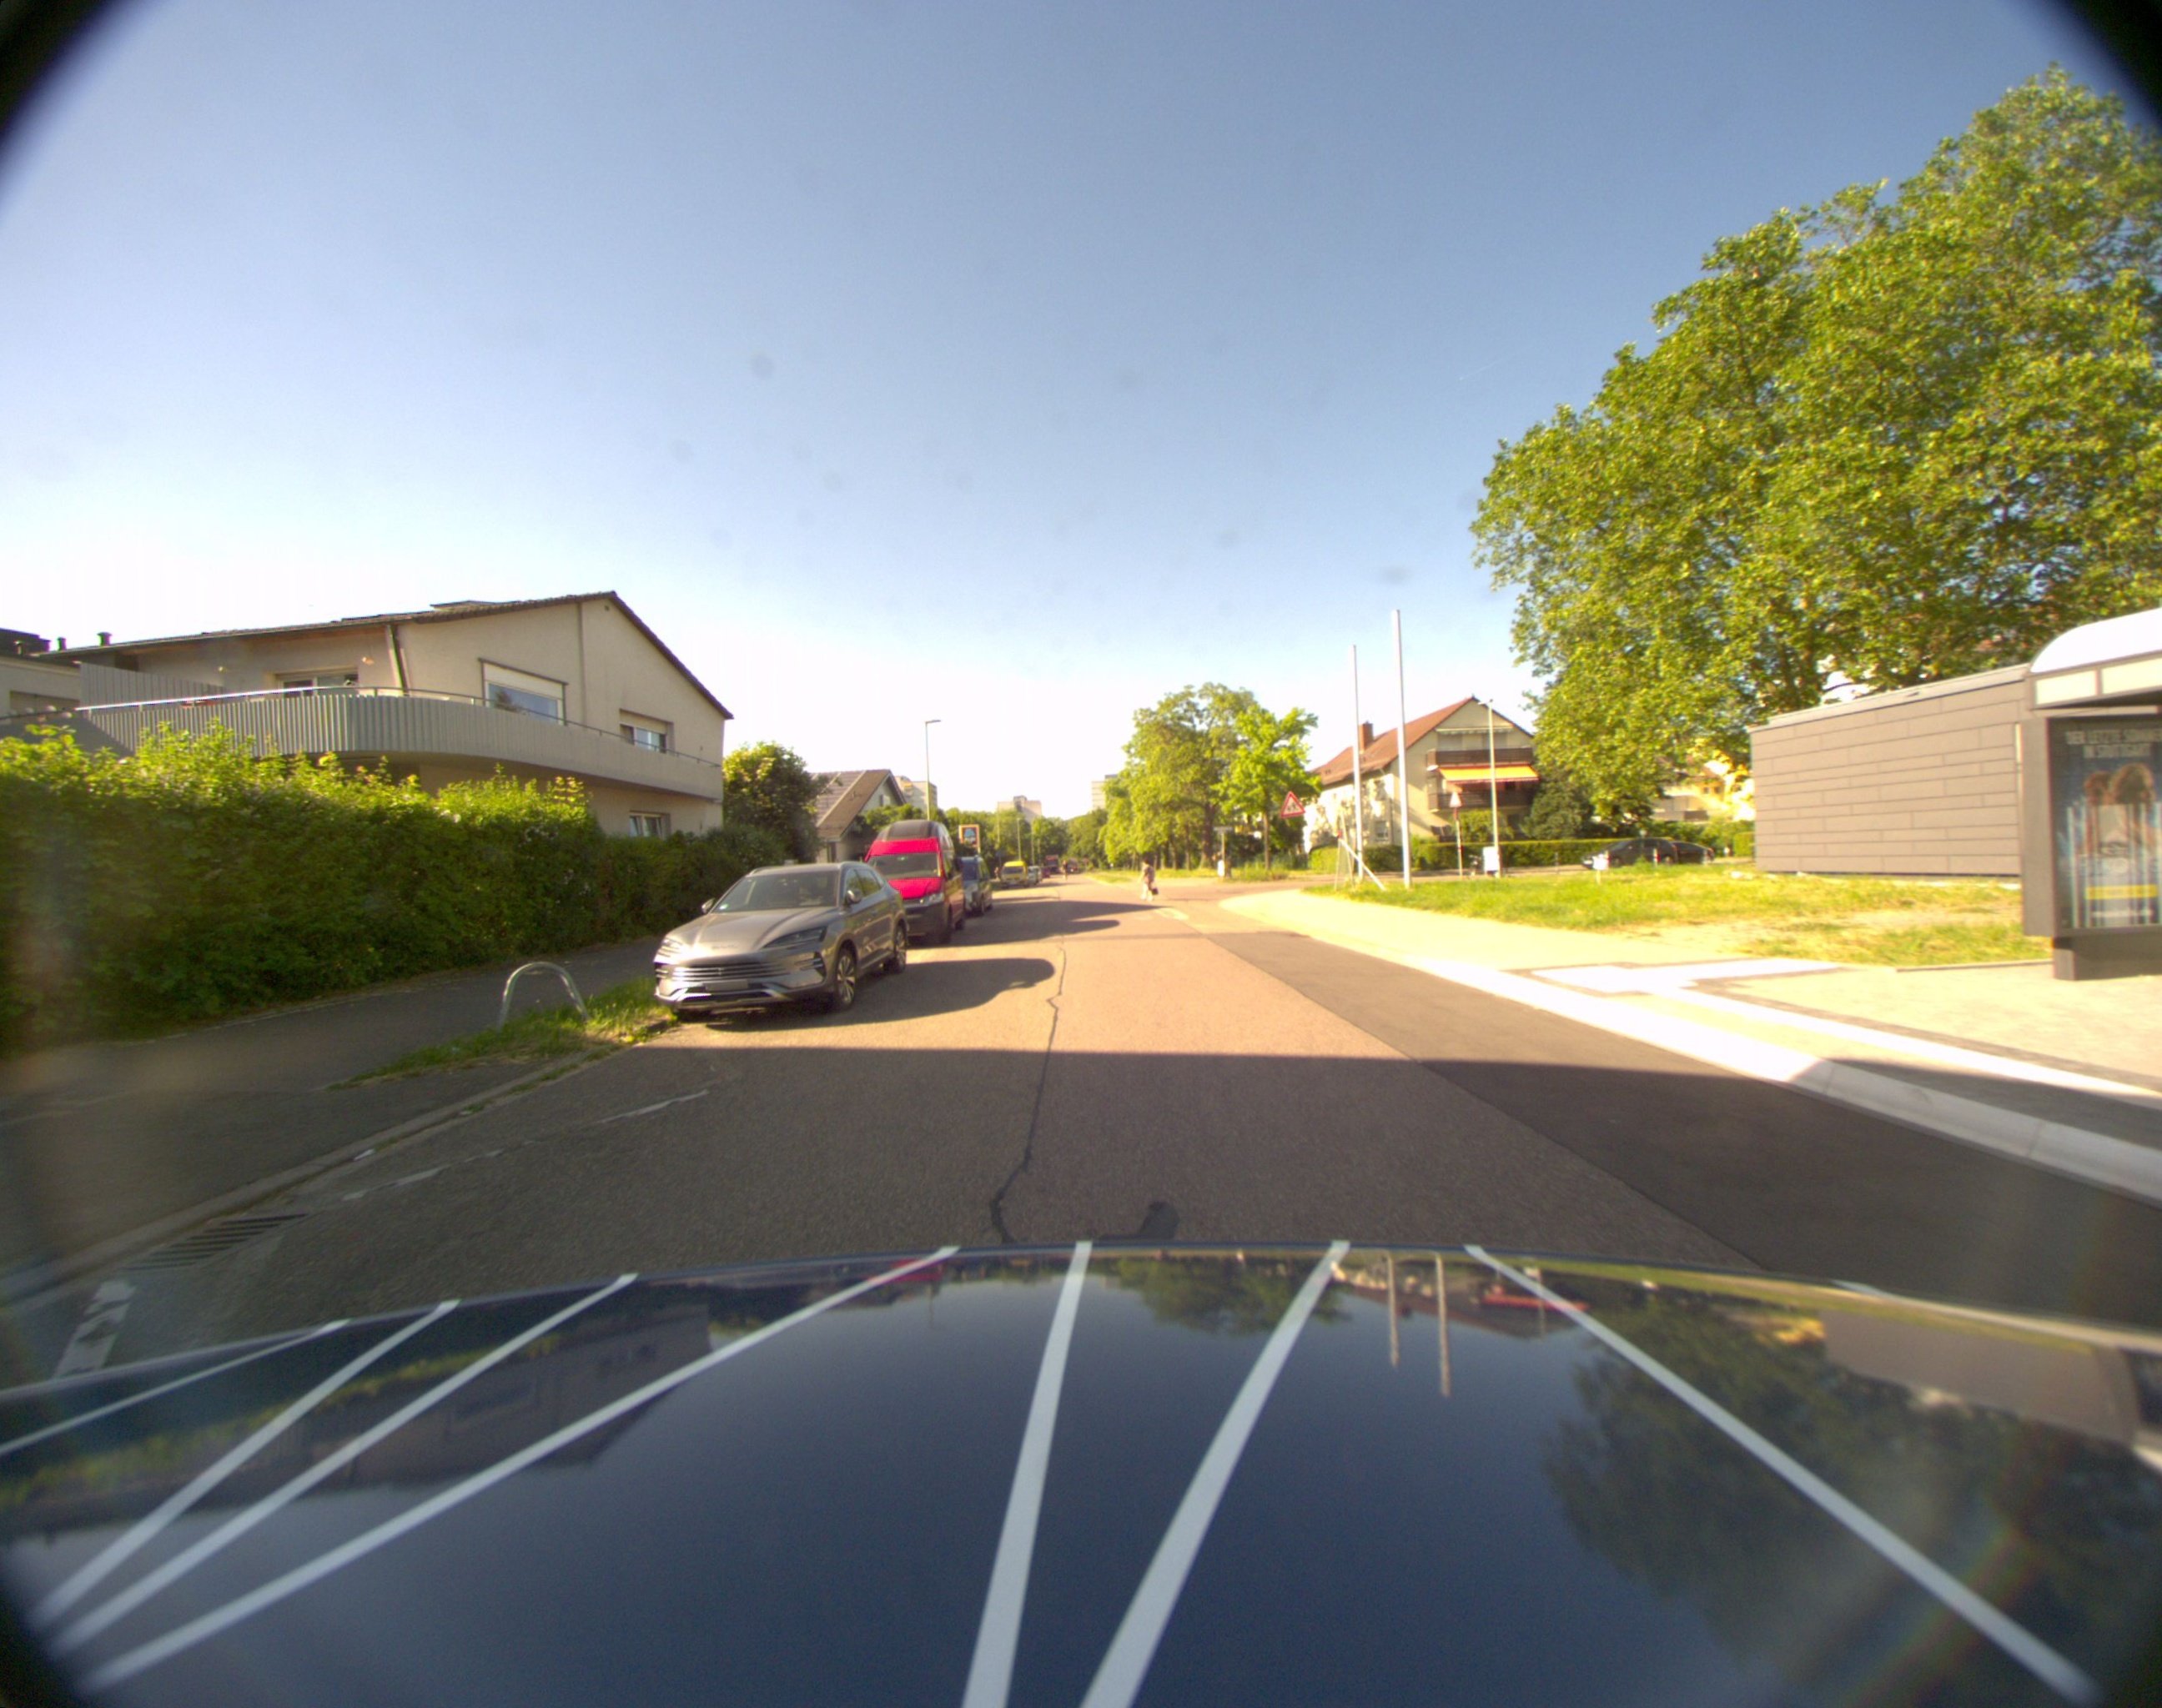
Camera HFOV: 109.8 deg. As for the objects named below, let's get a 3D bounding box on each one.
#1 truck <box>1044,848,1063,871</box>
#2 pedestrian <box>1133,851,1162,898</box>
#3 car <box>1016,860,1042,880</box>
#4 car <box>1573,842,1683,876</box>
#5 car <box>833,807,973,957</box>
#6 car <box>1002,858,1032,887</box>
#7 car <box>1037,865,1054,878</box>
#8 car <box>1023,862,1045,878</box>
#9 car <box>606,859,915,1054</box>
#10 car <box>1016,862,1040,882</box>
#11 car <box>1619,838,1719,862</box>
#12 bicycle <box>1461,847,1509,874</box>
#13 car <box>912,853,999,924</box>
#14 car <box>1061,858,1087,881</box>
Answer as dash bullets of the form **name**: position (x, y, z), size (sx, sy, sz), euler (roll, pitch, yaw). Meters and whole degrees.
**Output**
- **truck**: position (-5.781, 1.143, 160.754), size (3.602, 4.543, 10.023), euler (-3, 0, 0)
- **pedestrian**: position (2.324, 0.708, 26.600), size (0.834, 1.578, 0.633), euler (2, 3, 29)
- **car**: position (-4.583, 1.426, 67.619), size (1.999, 1.587, 4.578), euler (-3, -1, 0)
- **car**: position (27.978, 0.249, 38.979), size (4.107, 1.449, 2.115), euler (-3, 1, -2)
- **car**: position (-3.629, 0.527, 16.560), size (1.962, 2.629, 5.221), euler (-4, 0, -3)
- **car**: position (-4.190, 1.194, 50.243), size (1.621, 1.766, 3.981), euler (-3, 0, -1)
- **car**: position (-4.969, 2.379, 105.897), size (1.998, 1.587, 4.578), euler (-3, 0, 1)
- **car**: position (-4.871, 1.655, 79.636), size (1.999, 1.587, 4.577), euler (-3, -1, -1)
- **car**: position (-3.581, 0.997, 9.608), size (1.962, 1.728, 4.575), euler (-4, 0, -2)
- **car**: position (-4.303, 1.427, 61.880), size (1.621, 1.478, 3.981), euler (-3, 0, -1)
- **car**: position (31.686, -0.192, 41.039), size (4.019, 1.026, 1.631), euler (-3, 0, 4)
- **bicycle**: position (16.212, 0.258, 30.528), size (1.598, 0.978, 0.500), euler (-4, -2, 15)
- **car**: position (-3.744, 0.977, 23.468), size (1.862, 1.837, 4.559), euler (-5, 0, -1)
- **car**: position (-0.642, 1.373, 69.188), size (1.966, 1.908, 4.575), euler (-3, 1, -5)
